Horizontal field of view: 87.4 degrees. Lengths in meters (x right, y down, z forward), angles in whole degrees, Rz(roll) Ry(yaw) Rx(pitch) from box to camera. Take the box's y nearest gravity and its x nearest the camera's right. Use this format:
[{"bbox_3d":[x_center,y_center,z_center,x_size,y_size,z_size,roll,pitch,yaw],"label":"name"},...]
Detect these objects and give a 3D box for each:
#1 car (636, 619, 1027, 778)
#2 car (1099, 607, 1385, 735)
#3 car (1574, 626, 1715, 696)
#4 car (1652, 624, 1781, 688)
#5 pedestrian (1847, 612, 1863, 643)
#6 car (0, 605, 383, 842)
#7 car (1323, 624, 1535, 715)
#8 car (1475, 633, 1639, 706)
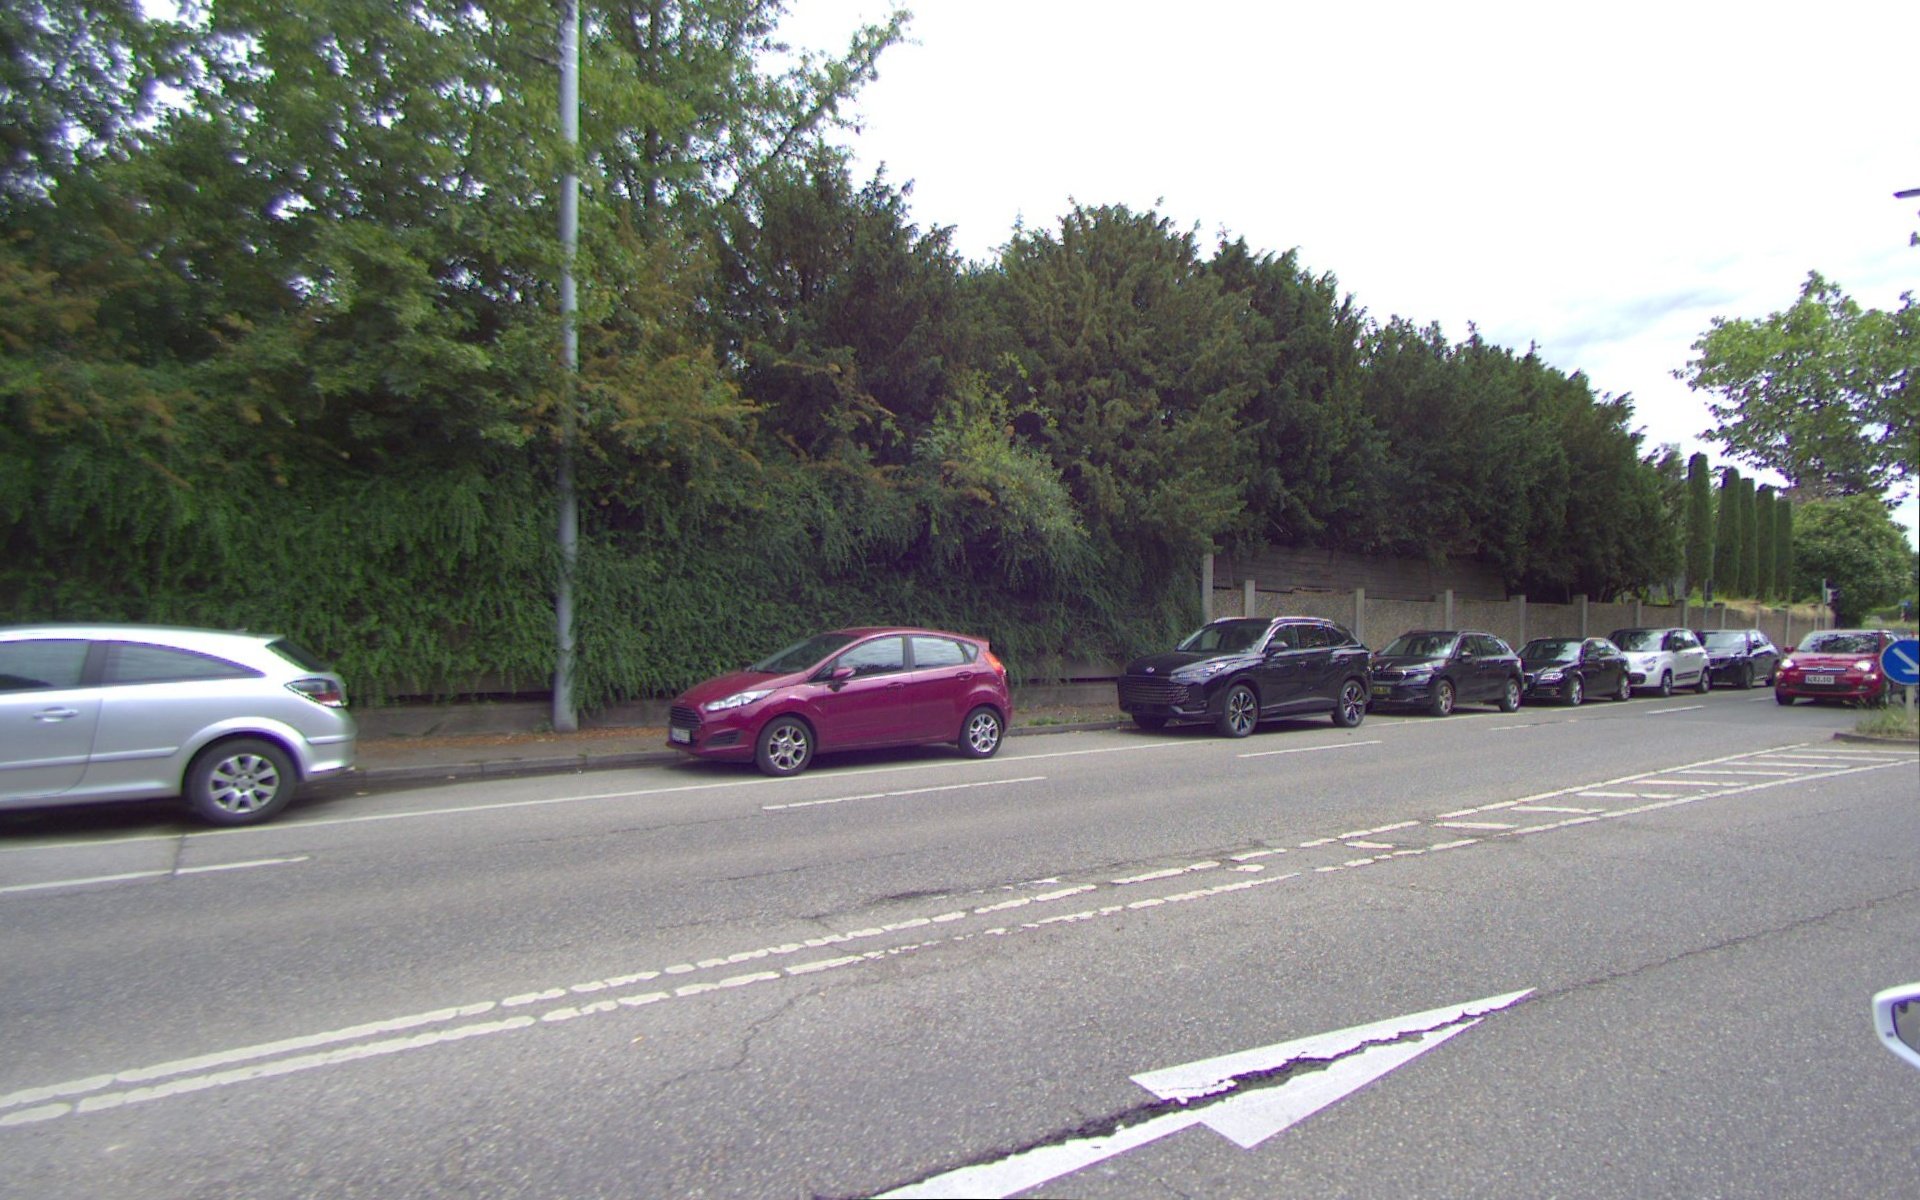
[{"bbox_3d":[-1.325,0.981,11.143,3.964,1.457,1.766,2,-2,-38],"label":"car"},{"bbox_3d":[4.384,1.015,15.299,4.427,1.664,1.978,2,-2,-38],"label":"car"},{"bbox_3d":[17.155,1.498,25.118,4.057,1.613,1.661,2,-3,-37],"label":"car"},{"bbox_3d":[21.364,1.557,28.305,4.392,1.646,1.873,3,-2,-38],"label":"car"},{"bbox_3d":[61.225,1.857,68.713,0.731,2.041,0.629,3,3,44],"label":"pedestrian"},{"bbox_3d":[-6.685,0.806,7.054,4.390,1.508,1.657,3,-3,-37],"label":"car"},{"bbox_3d":[8.885,1.275,18.939,4.065,1.531,1.933,2,-3,-36],"label":"car"},{"bbox_3d":[13.122,1.476,22.002,4.183,1.419,1.636,2,-2,-37],"label":"car"}]
